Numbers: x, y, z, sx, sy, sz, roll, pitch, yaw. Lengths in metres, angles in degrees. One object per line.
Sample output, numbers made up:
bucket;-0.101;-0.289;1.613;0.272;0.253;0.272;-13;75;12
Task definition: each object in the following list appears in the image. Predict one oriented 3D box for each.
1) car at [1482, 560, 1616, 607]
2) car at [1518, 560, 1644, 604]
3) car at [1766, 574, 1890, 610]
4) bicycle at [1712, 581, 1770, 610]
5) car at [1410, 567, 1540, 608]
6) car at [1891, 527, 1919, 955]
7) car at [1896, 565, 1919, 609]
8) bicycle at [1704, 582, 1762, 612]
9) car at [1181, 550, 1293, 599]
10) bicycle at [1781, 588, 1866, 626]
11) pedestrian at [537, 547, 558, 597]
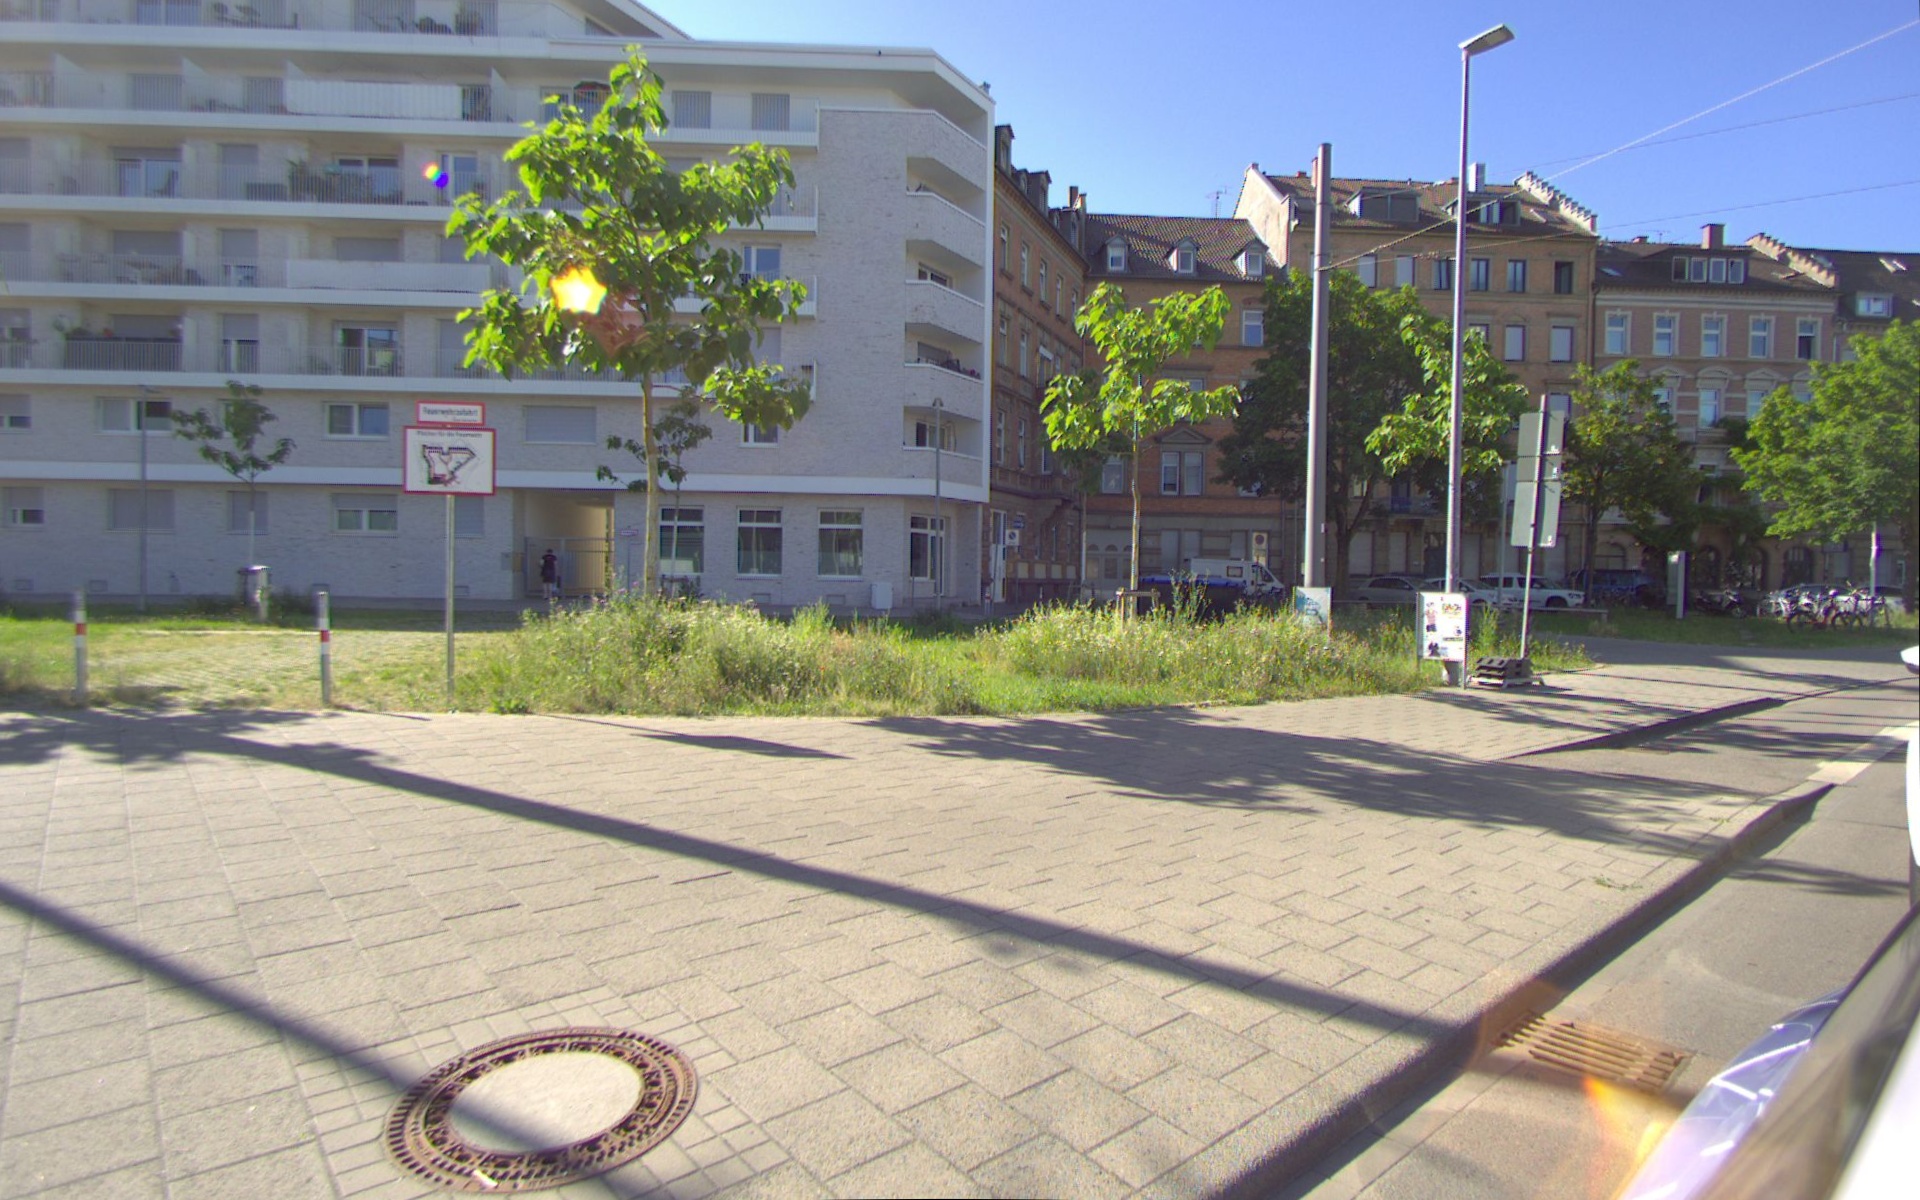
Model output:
car;22.529;-0.652;38.834;1.964;1.682;3.997;0;2;-38
car;25.474;-0.761;41.635;1.964;1.682;3.997;0;2;-38
car;34.258;-0.348;40.002;1.701;1.348;3.463;0;2;-38
bicycle;29.217;-0.166;37.888;0.442;1.037;1.766;0;1;-15
car;19.656;-0.520;38.739;1.964;1.482;3.997;0;2;-38
car;5.871;0.554;4.642;4.262;1.650;1.872;-1;2;-41
car;40.487;-0.475;40.100;1.700;1.793;4.791;0;2;-38
bicycle;28.424;-0.121;37.252;0.442;1.037;1.766;0;1;-15
car;12.751;-1.186;46.752;4.553;2.139;2.001;1;1;-1
bicycle;24.768;0.189;29.048;1.742;1.037;0.564;1;1;23
pedestrian;-13.994;-0.953;34.346;0.513;1.668;0.470;1;1;2
